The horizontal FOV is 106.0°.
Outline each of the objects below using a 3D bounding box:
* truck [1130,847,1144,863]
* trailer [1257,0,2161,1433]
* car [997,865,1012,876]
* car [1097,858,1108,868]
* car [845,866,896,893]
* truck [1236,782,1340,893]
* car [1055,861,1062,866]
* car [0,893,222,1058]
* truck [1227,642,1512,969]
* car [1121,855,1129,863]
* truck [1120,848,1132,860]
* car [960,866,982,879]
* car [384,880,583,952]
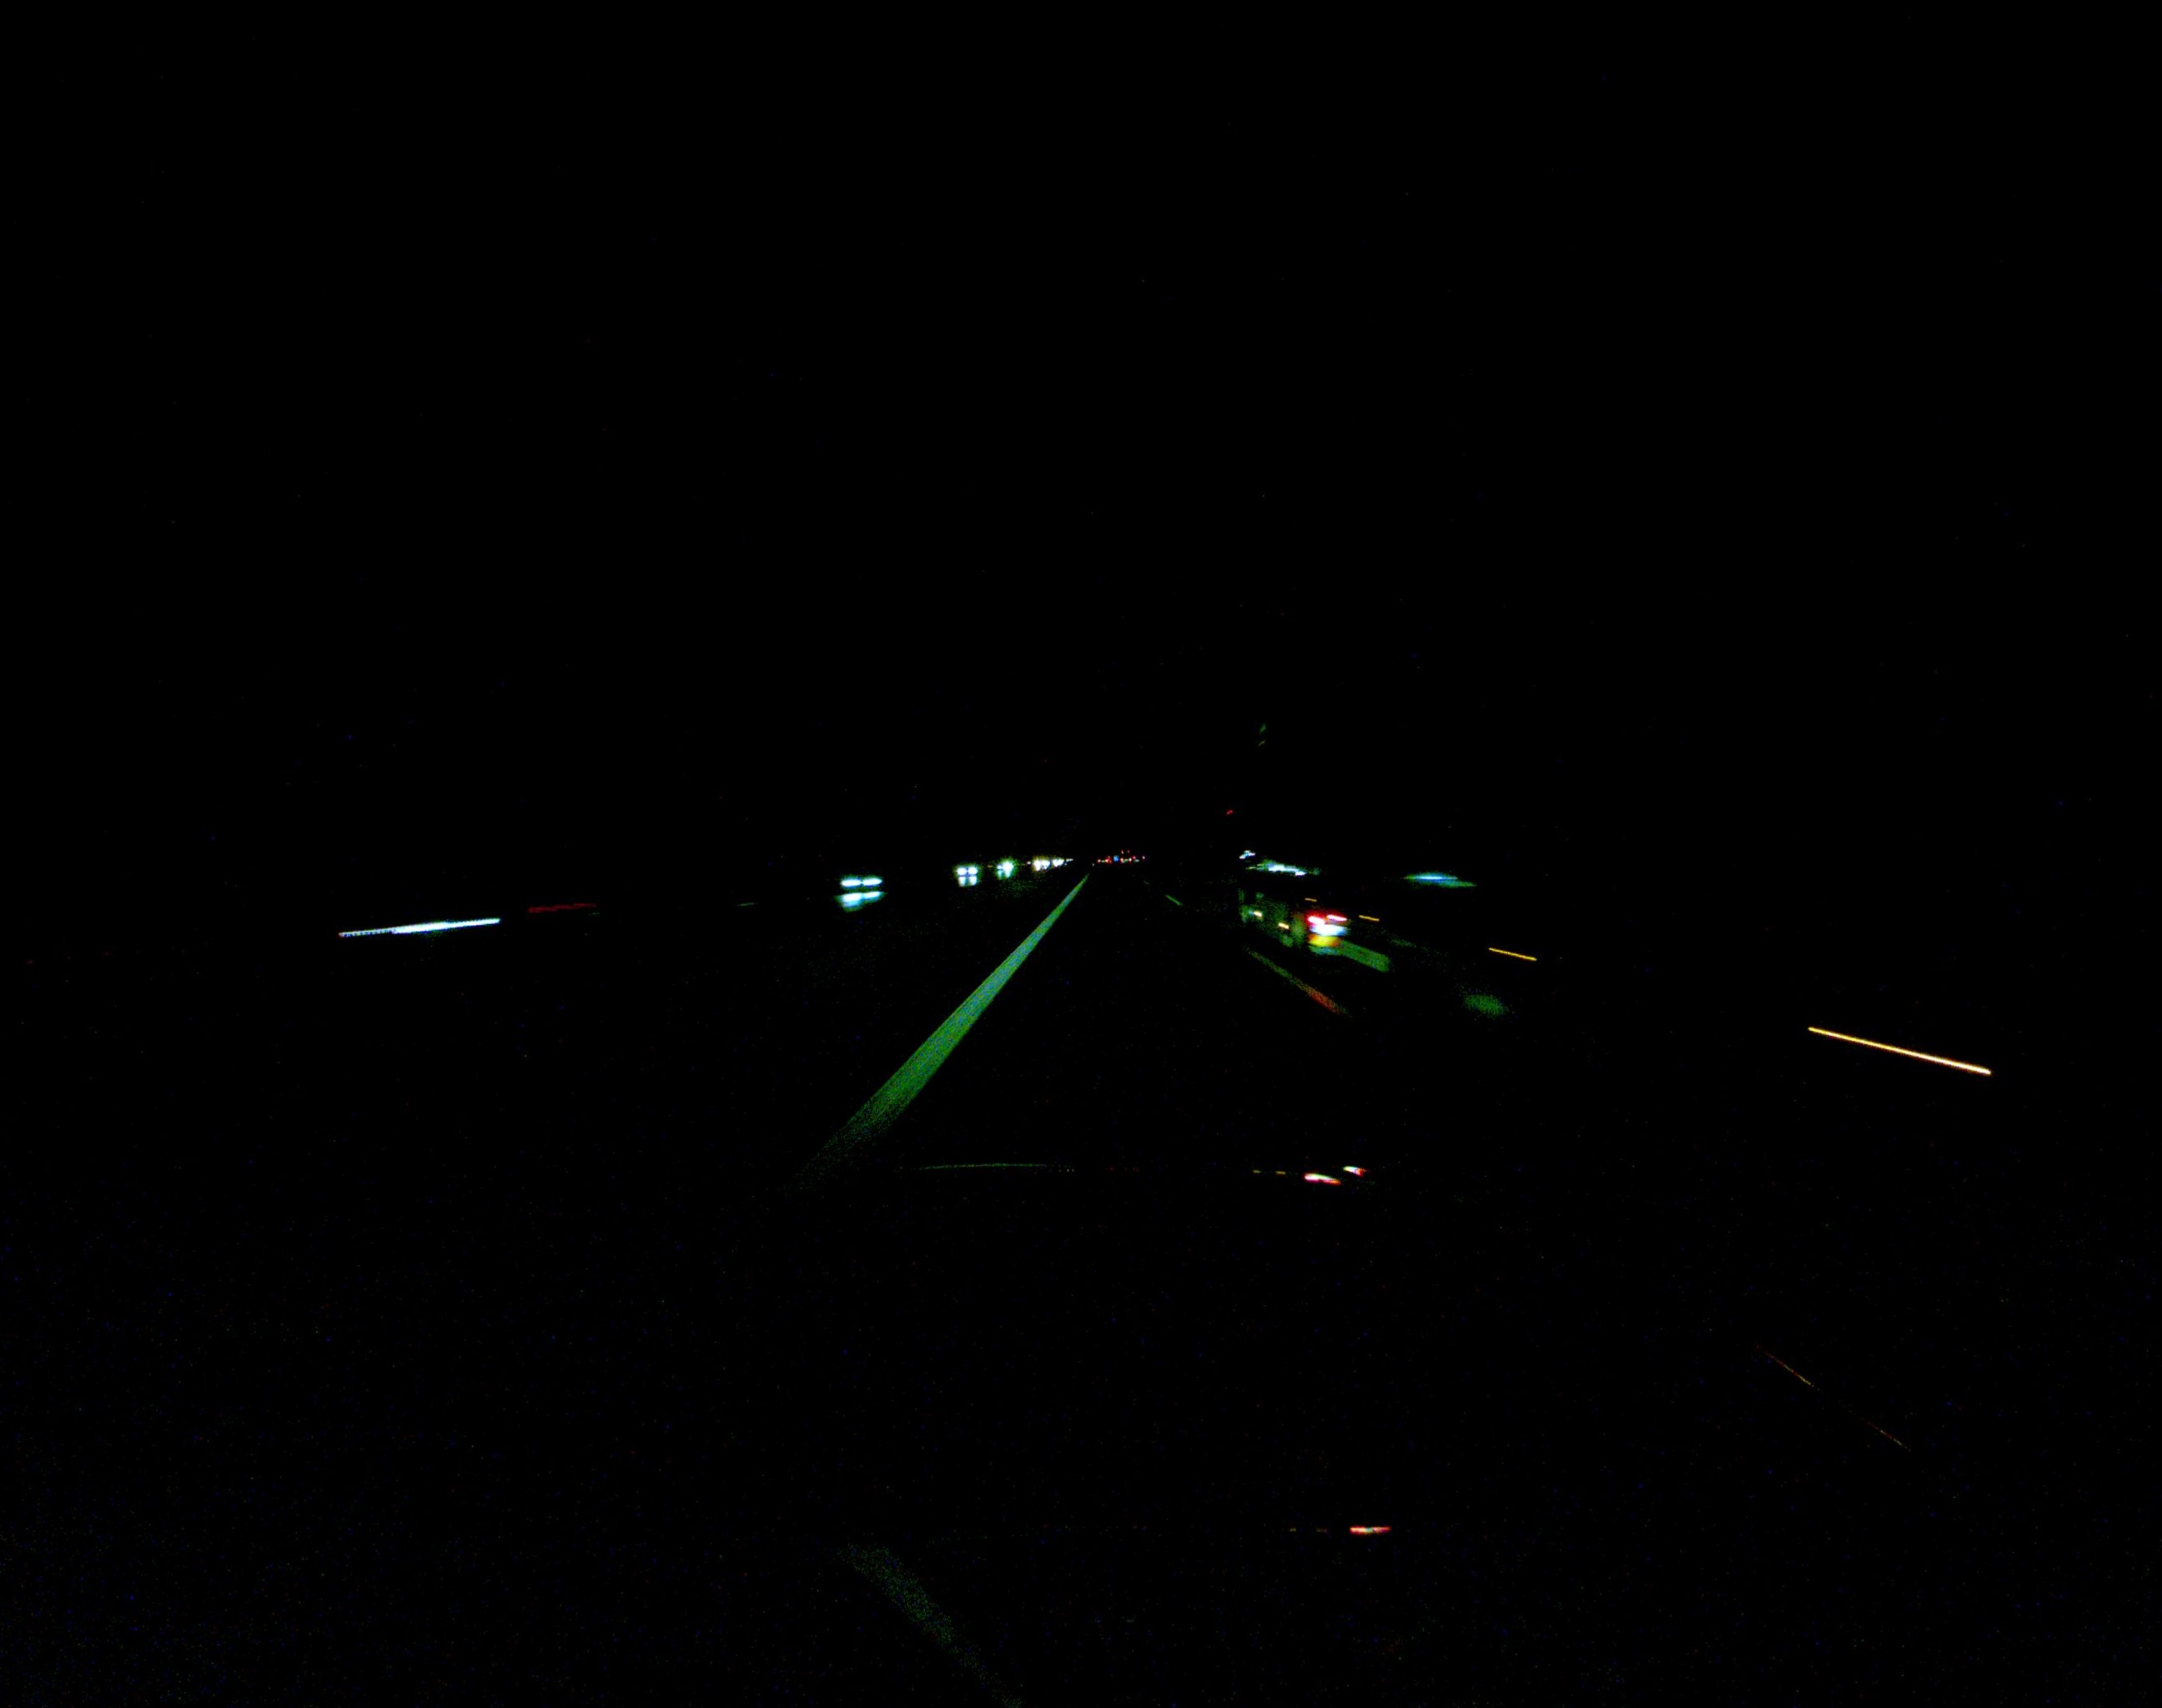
[{"bbox_3d":[10.689,0.178,155.451,2.071,2.691,7.302,0,-3,-1],"label":"truck"},{"bbox_3d":[4.128,-0.662,6.829,2.732,4.206,13.514,0,0,2],"label":"trailer"},{"bbox_3d":[-11.343,2.419,120.422,1.626,1.394,4.877,-3,0,0],"label":"car"},{"bbox_3d":[3.422,1.437,131.366,1.814,1.466,4.248,0,0,1],"label":"car"},{"bbox_3d":[-13.343,1.592,51.890,1.743,1.478,4.729,-3,0,3],"label":"car"},{"bbox_3d":[8.372,-0.598,33.929,2.581,4.072,7.675,0,0,2],"label":"truck"},{"bbox_3d":[-6.633,2.791,240.444,1.745,1.478,4.581,-3,0,0],"label":"car"},{"bbox_3d":[-11.129,1.232,7.258,1.743,1.478,4.765,-3,0,2],"label":"car"},{"bbox_3d":[4.325,-0.609,13.867,2.652,4.206,6.724,0,0,1],"label":"truck"},{"bbox_3d":[7.783,0.863,143.897,1.341,1.387,3.501,0,0,1],"label":"car"},{"bbox_3d":[12.865,0.047,235.034,3.034,3.325,10.141,0,0,1],"label":"truck"},{"bbox_3d":[-11.982,2.005,88.921,1.656,1.334,4.808,-3,0,0],"label":"car"},{"bbox_3d":[-15.535,1.542,21.528,1.743,1.478,4.484,-3,0,3],"label":"car"}]
